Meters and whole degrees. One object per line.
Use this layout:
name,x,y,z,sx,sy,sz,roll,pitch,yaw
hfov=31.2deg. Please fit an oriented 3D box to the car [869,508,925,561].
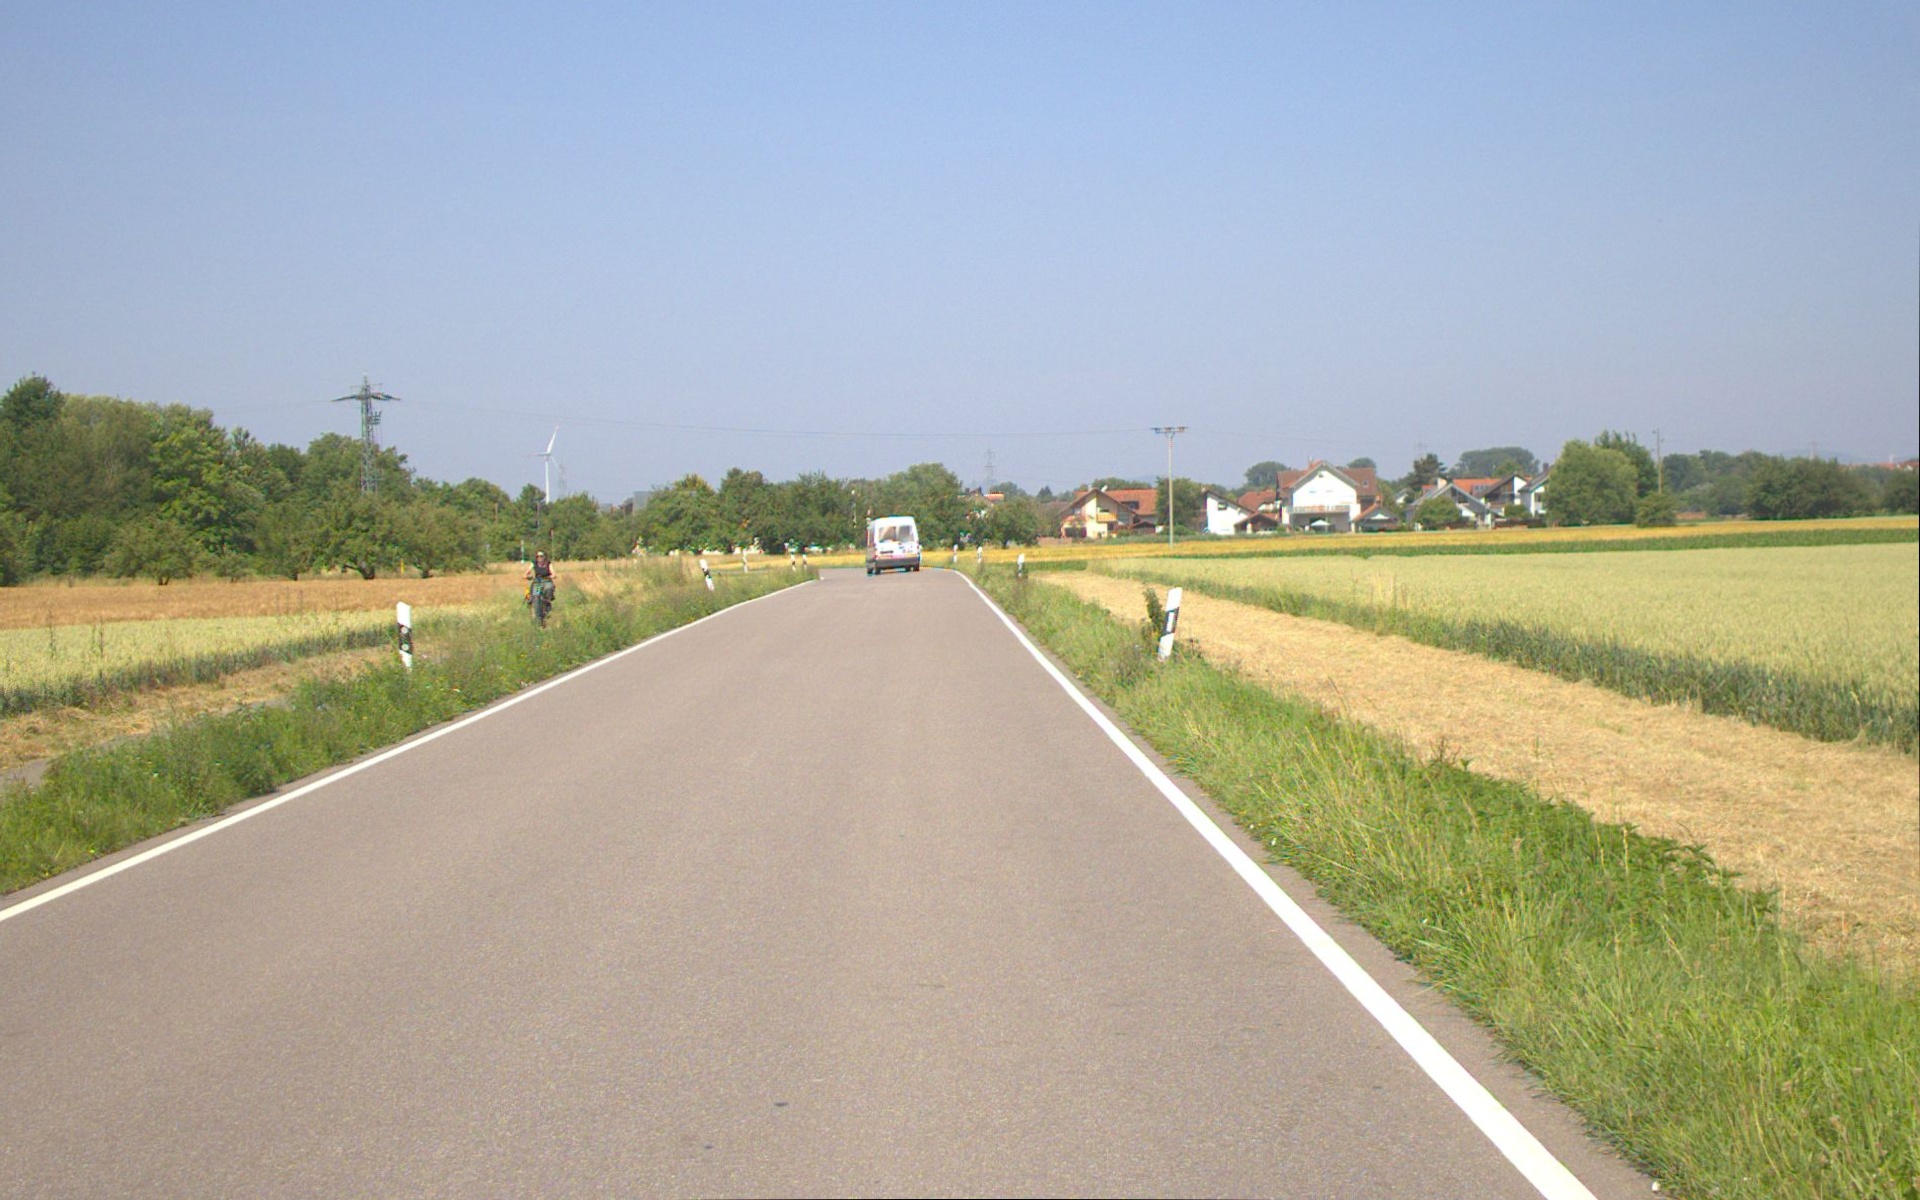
car,-2.841,-2.920,154.049,2.107,2.296,5.497,0,1,-5

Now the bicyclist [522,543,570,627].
bicyclist,-8.391,-0.308,69.696,0.760,1.667,1.088,-3,1,-1

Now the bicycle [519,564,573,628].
bicycle,-8.400,-0.089,69.825,0.759,1.231,2.394,-3,1,-1
